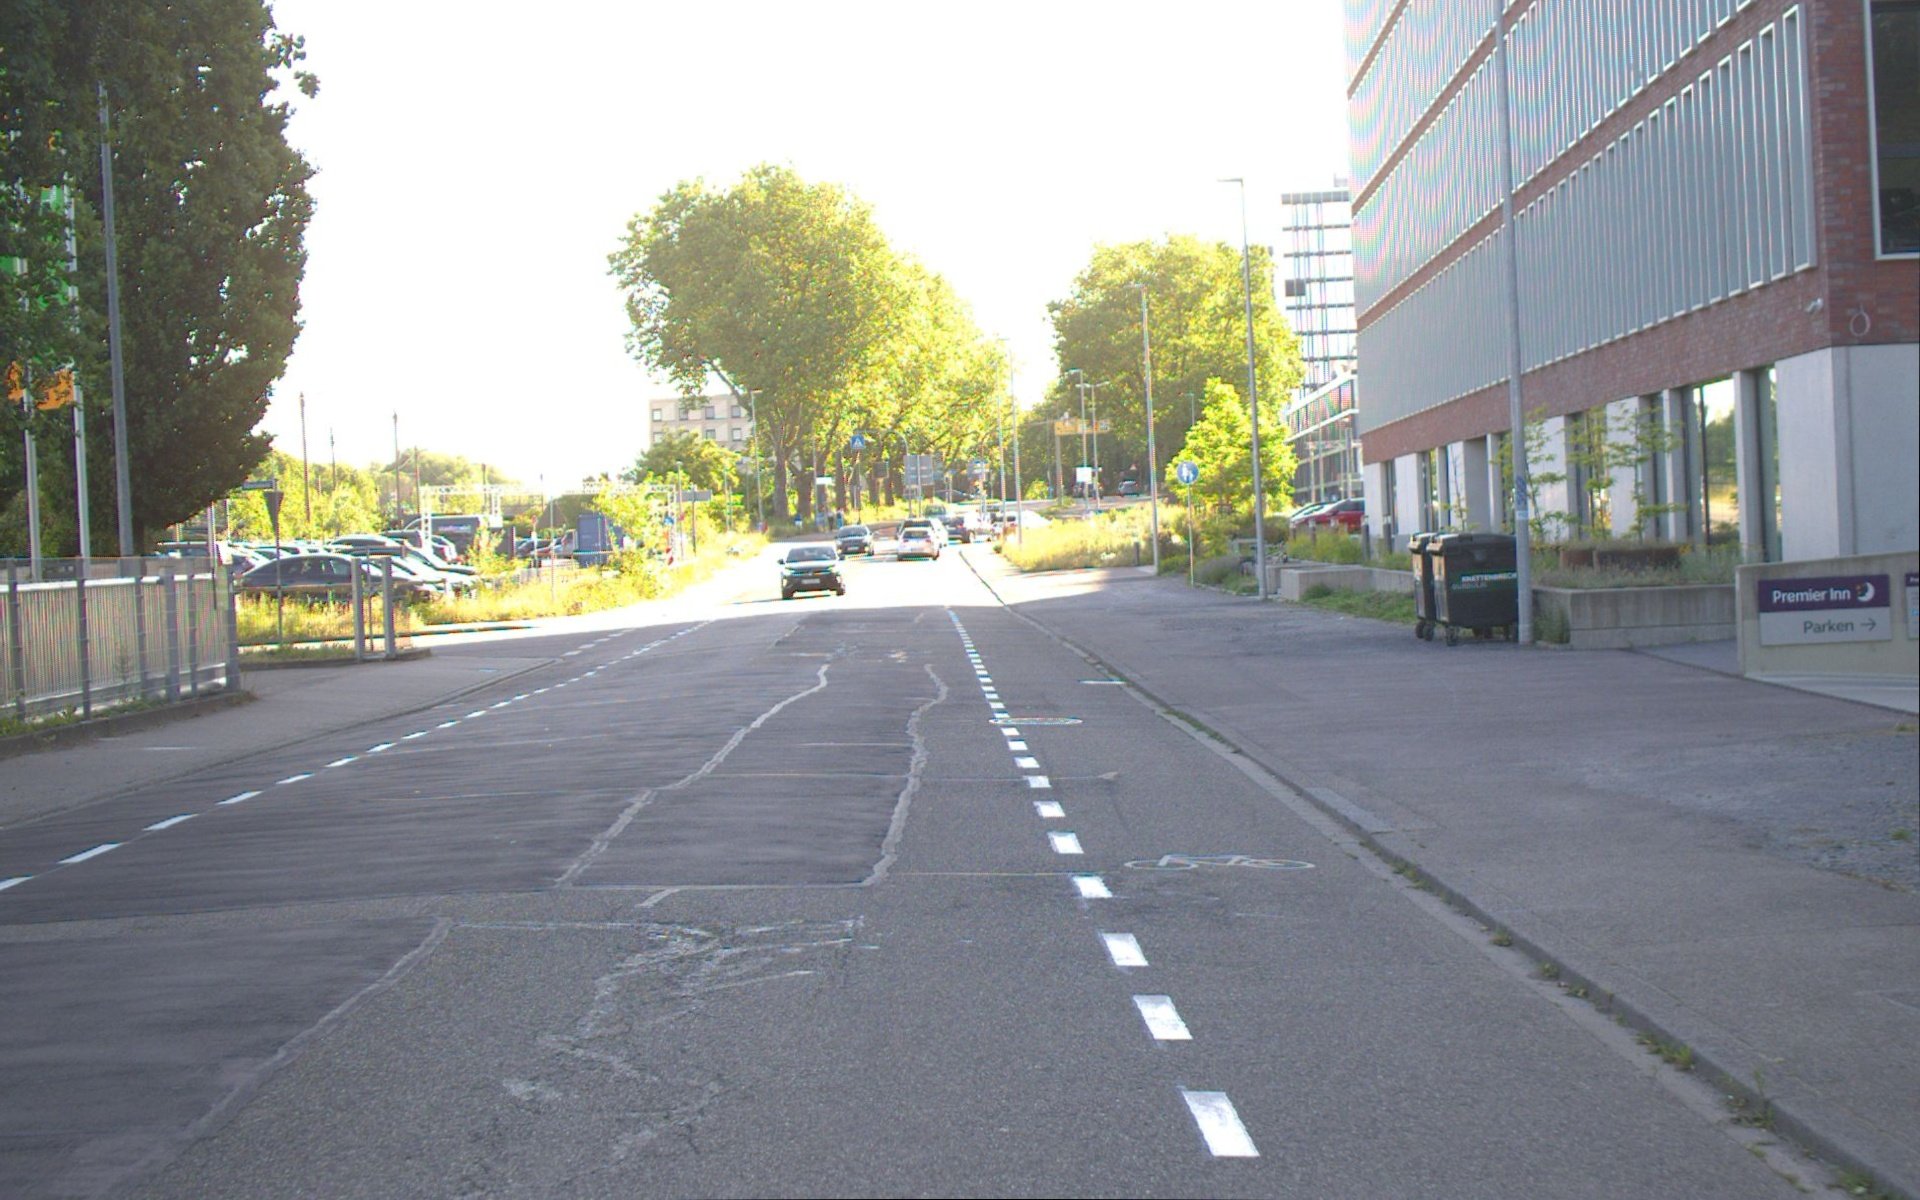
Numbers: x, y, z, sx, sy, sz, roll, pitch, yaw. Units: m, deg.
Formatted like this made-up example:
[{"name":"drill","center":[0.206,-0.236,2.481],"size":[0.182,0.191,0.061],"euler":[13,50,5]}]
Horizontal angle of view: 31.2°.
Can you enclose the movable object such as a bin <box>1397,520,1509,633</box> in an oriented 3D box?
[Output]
[{"name":"movable object such as a bin","center":[6.125,-0.302,42.769],"size":[1.128,1.331,1.345],"euler":[-2,1,-1]}]

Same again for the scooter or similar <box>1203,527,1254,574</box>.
[{"name":"scooter or similar","center":[7.442,-1.372,95.227],"size":[1.340,1.241,0.423],"euler":[-2,1,4]}]

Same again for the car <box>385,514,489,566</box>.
[{"name":"car","center":[-26.992,-3.106,177.567],"size":[4.926,2.451,2.320],"euler":[-3,1,-1]}]

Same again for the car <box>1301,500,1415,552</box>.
[{"name":"car","center":[15.179,-2.821,131.284],"size":[4.184,1.576,1.851],"euler":[-3,-7,3]}]

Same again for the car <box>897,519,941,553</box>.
[{"name":"car","center":[-1.807,-2.844,151.918],"size":[1.790,1.415,4.000],"euler":[-1,2,1]}]

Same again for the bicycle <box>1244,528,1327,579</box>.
[{"name":"bicycle","center":[7.915,-1.134,83.522],"size":[1.931,1.166,0.375],"euler":[-3,1,-6]}]

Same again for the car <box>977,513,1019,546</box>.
[{"name":"car","center":[2.058,-3.833,186.883],"size":[2.163,1.678,4.000],"euler":[-2,1,0]}]

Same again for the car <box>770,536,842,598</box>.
[{"name":"car","center":[-4.334,-0.956,97.243],"size":[1.740,1.520,4.112],"euler":[-6,1,-1]}]

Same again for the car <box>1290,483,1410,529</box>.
[{"name":"car","center":[14.094,-3.403,124.318],"size":[4.184,1.575,1.852],"euler":[-1,2,3]}]

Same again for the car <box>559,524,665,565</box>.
[{"name":"car","center":[-16.601,-2.643,164.256],"size":[4.845,1.828,2.000],"euler":[-1,2,-1]}]

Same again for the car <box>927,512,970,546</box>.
[{"name":"car","center":[-0.606,-3.734,181.421],"size":[2.163,1.678,4.000],"euler":[-2,1,1]}]

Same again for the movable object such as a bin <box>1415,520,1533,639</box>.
[{"name":"movable object such as a bin","center":[6.148,-0.255,41.188],"size":[1.128,1.367,1.345],"euler":[-2,1,-1]}]

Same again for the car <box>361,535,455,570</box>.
[{"name":"car","center":[-27.269,-2.351,169.966],"size":[4.321,1.612,1.878],"euler":[-1,2,-1]}]

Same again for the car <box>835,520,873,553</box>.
[{"name":"car","center":[-5.069,-3.029,165.076],"size":[1.654,1.498,4.000],"euler":[-3,1,-1]}]
